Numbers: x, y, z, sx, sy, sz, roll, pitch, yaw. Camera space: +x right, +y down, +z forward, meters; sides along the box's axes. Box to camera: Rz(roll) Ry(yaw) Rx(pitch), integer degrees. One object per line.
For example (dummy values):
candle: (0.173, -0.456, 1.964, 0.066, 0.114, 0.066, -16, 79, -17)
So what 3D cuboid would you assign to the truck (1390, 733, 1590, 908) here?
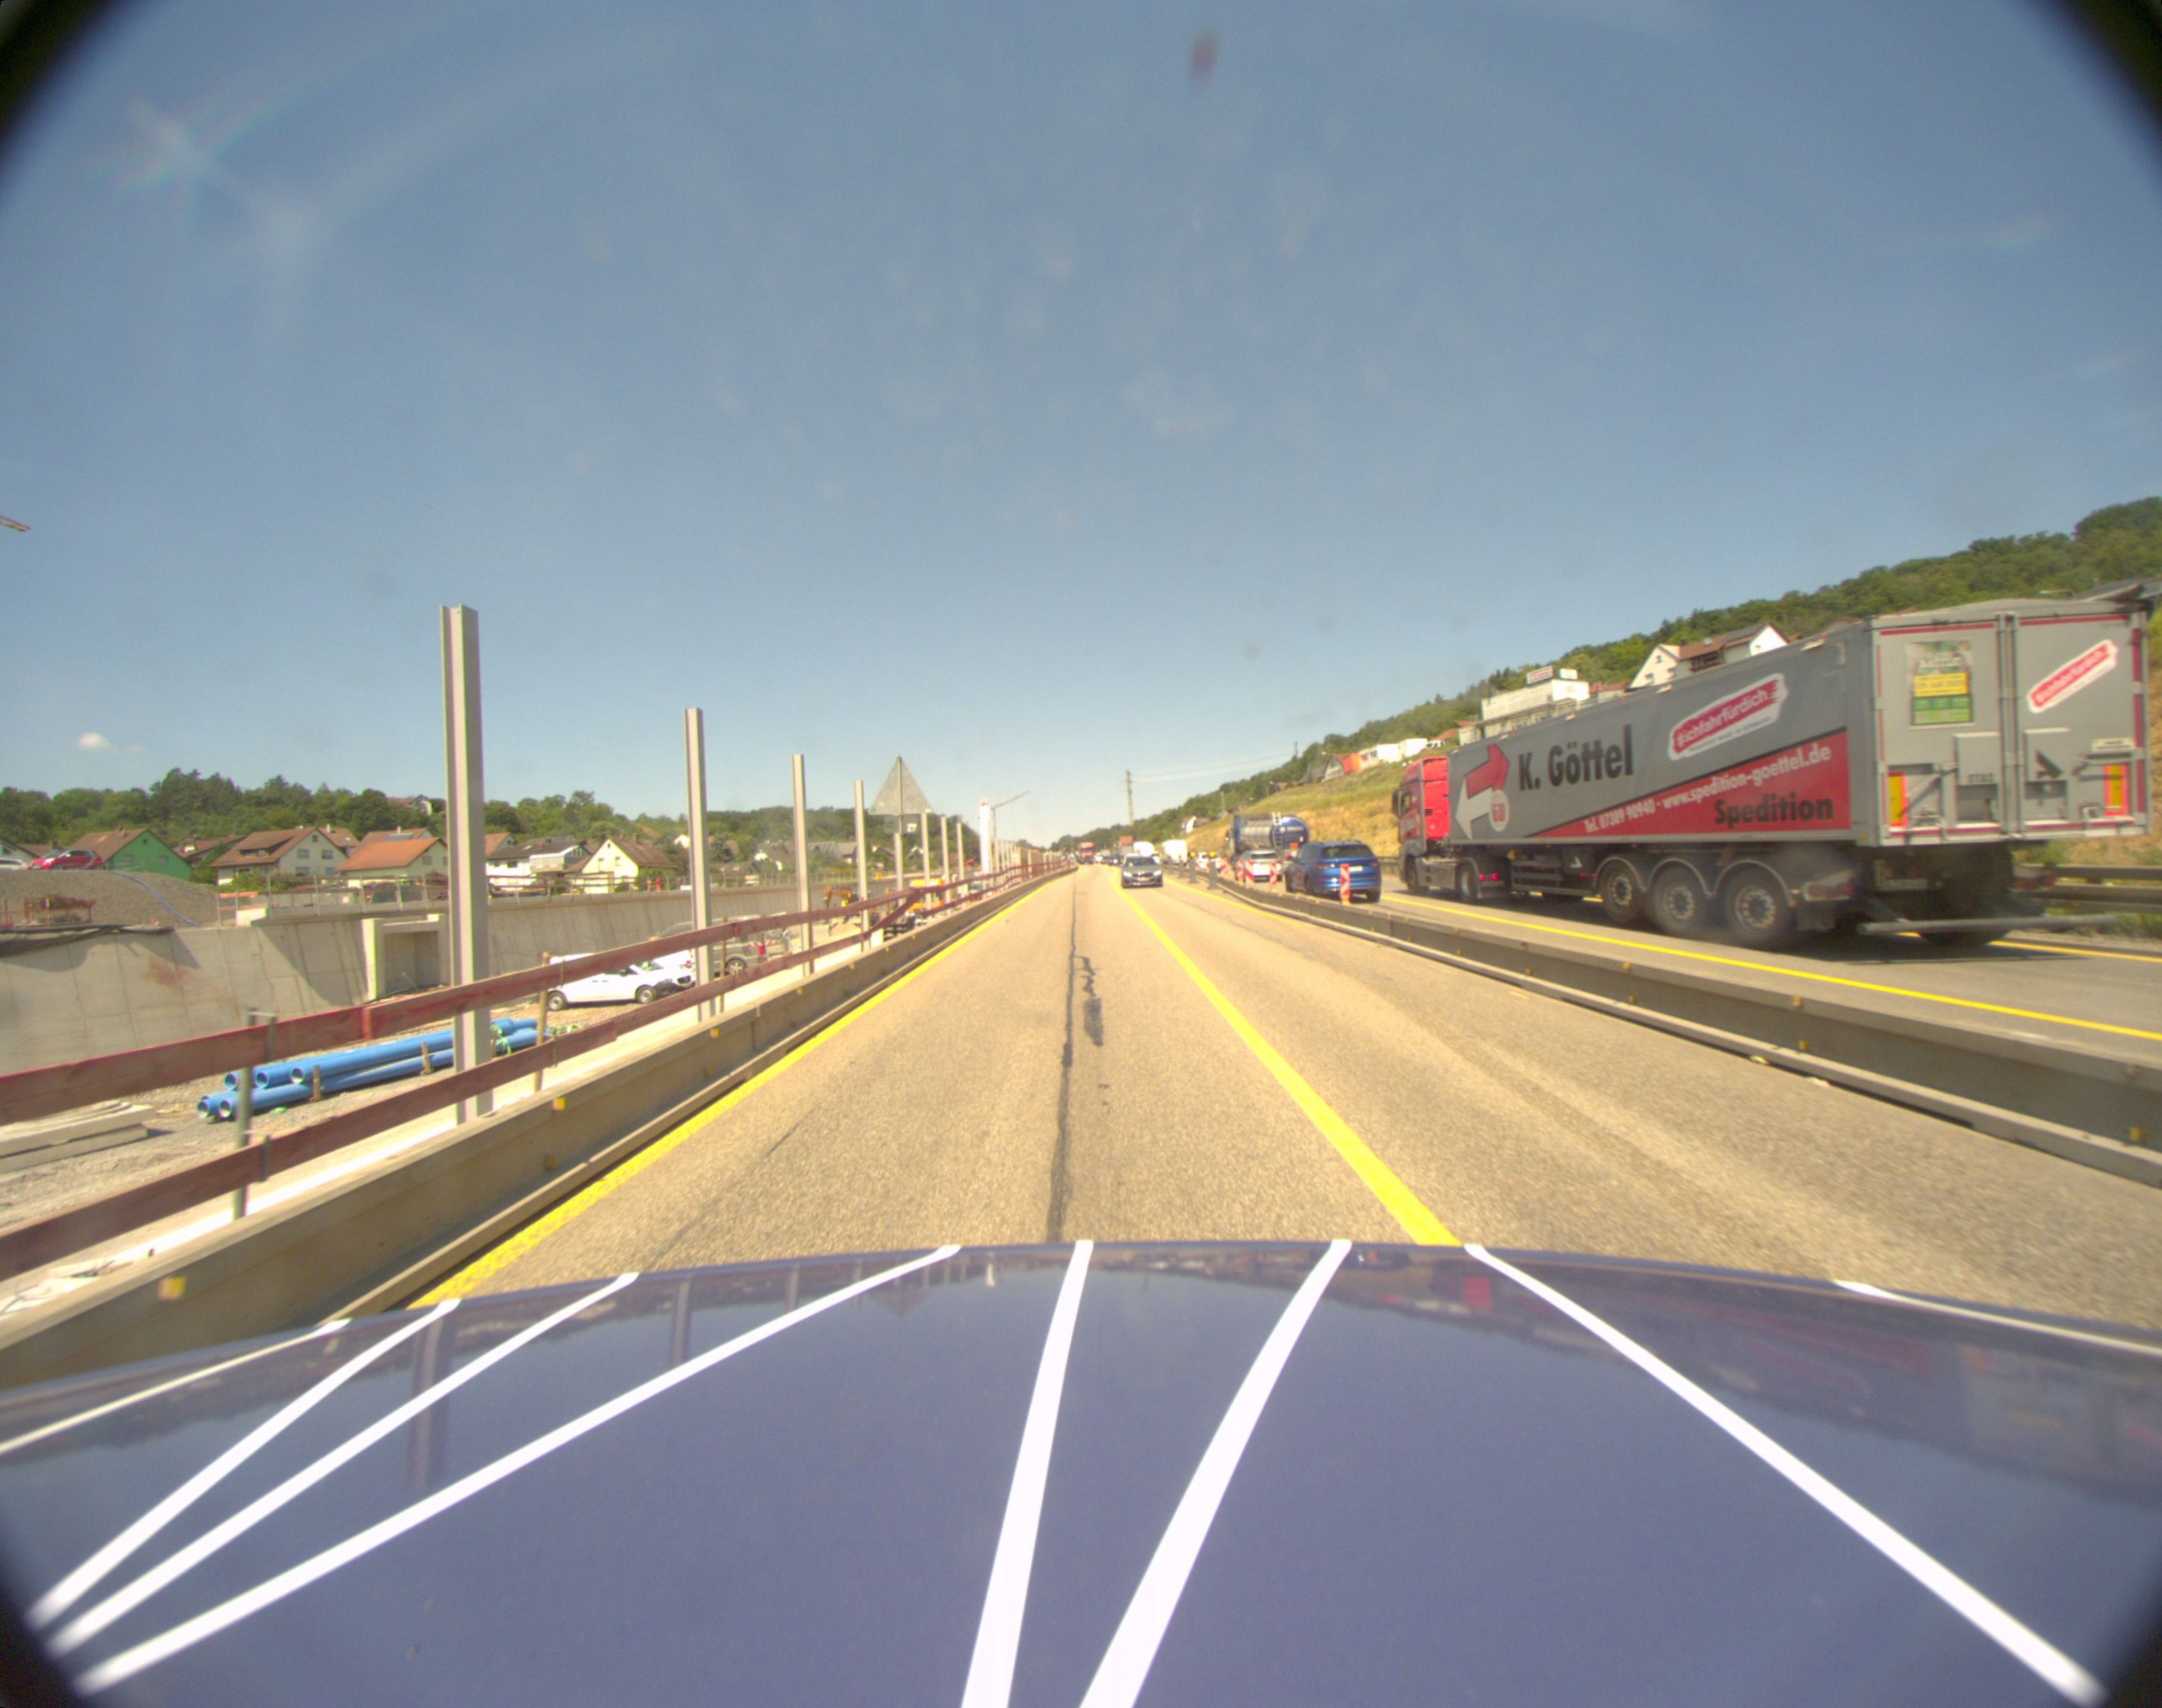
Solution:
truck: (10.241, -0.780, 19.712, 2.590, 3.807, 5.382, -3, 1, 6)

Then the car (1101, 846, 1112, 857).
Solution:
car: (7.305, -0.764, 217.160, 2.927, 2.863, 6.696, -3, 0, 0)

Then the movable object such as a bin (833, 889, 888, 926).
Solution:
movable object such as a bin: (-19.414, 4.707, 67.180, 3.266, 2.769, 4.001, -3, 1, 6)

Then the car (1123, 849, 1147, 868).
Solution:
car: (4.700, 0.369, 66.318, 1.838, 1.465, 4.389, -3, 0, 2)

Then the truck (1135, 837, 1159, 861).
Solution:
truck: (11.952, -0.953, 138.781, 3.115, 4.023, 13.155, -3, 1, 1)

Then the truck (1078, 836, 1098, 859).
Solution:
truck: (1.283, -1.330, 143.781, 3.463, 4.023, 10.209, -3, 1, 1)

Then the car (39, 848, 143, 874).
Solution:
car: (-60.829, 0.397, 46.793, 1.545, 1.477, 3.606, -3, 1, 1)

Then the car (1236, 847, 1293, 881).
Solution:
car: (8.512, 0.434, 35.645, 1.838, 1.421, 4.536, -3, 0, 5)

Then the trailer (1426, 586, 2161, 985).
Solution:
trailer: (9.776, -0.746, 13.356, 2.661, 3.794, 11.822, -3, 1, 4)

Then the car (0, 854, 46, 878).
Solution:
car: (-69.773, 0.789, 48.406, 1.729, 1.477, 4.214, -3, 1, 1)

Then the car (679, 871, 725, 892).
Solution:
car: (-33.256, 2.379, 66.846, 1.658, 1.594, 4.605, -3, 1, 0)

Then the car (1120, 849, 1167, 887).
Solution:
car: (2.836, 0.594, 35.299, 1.838, 1.587, 4.389, -3, 0, 2)

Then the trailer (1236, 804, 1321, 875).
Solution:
trailer: (12.163, -0.879, 47.985, 2.606, 3.848, 11.273, -3, 1, 2)

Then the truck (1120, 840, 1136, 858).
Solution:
truck: (11.497, -1.287, 187.296, 3.148, 4.023, 10.209, -3, 1, 1)

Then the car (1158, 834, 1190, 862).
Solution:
car: (9.191, -0.596, 75.380, 2.211, 2.614, 6.627, -3, 0, 0)

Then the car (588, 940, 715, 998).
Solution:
car: (-16.747, 4.481, 29.796, 3.871, 1.676, 1.692, -4, 0, -5)

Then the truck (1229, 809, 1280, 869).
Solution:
truck: (12.344, -1.069, 54.366, 2.589, 3.954, 4.588, -3, 1, 1)

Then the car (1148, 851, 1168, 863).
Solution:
car: (9.113, 0.350, 90.204, 1.838, 1.368, 4.389, -3, 0, 0)

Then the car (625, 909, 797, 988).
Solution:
car: (-16.167, 4.080, 33.593, 6.308, 2.566, 2.053, -6, -1, -13)

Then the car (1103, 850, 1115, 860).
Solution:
car: (4.638, 0.140, 126.241, 1.801, 1.542, 4.000, -3, -1, -2)

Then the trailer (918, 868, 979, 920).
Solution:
trailer: (-10.738, 3.066, 62.983, 2.446, 3.333, 12.892, -3, 1, 1)

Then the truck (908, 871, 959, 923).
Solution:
truck: (-10.808, 3.115, 56.277, 2.504, 3.385, 5.435, -3, 1, 1)

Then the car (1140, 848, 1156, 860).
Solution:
car: (10.015, 0.020, 113.343, 1.838, 1.626, 4.389, -3, 0, 0)

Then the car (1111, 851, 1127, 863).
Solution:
car: (5.089, 0.442, 103.094, 1.801, 1.542, 4.000, -3, -1, -2)

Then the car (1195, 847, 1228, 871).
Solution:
car: (9.176, 0.318, 53.859, 1.838, 1.510, 4.844, -3, 0, 5)

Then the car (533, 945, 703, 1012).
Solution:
car: (-16.147, 4.336, 26.671, 4.801, 1.758, 1.720, -4, 0, 0)

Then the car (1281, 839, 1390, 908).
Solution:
car: (6.949, 0.459, 21.274, 1.837, 1.654, 4.686, -3, 0, 6)
